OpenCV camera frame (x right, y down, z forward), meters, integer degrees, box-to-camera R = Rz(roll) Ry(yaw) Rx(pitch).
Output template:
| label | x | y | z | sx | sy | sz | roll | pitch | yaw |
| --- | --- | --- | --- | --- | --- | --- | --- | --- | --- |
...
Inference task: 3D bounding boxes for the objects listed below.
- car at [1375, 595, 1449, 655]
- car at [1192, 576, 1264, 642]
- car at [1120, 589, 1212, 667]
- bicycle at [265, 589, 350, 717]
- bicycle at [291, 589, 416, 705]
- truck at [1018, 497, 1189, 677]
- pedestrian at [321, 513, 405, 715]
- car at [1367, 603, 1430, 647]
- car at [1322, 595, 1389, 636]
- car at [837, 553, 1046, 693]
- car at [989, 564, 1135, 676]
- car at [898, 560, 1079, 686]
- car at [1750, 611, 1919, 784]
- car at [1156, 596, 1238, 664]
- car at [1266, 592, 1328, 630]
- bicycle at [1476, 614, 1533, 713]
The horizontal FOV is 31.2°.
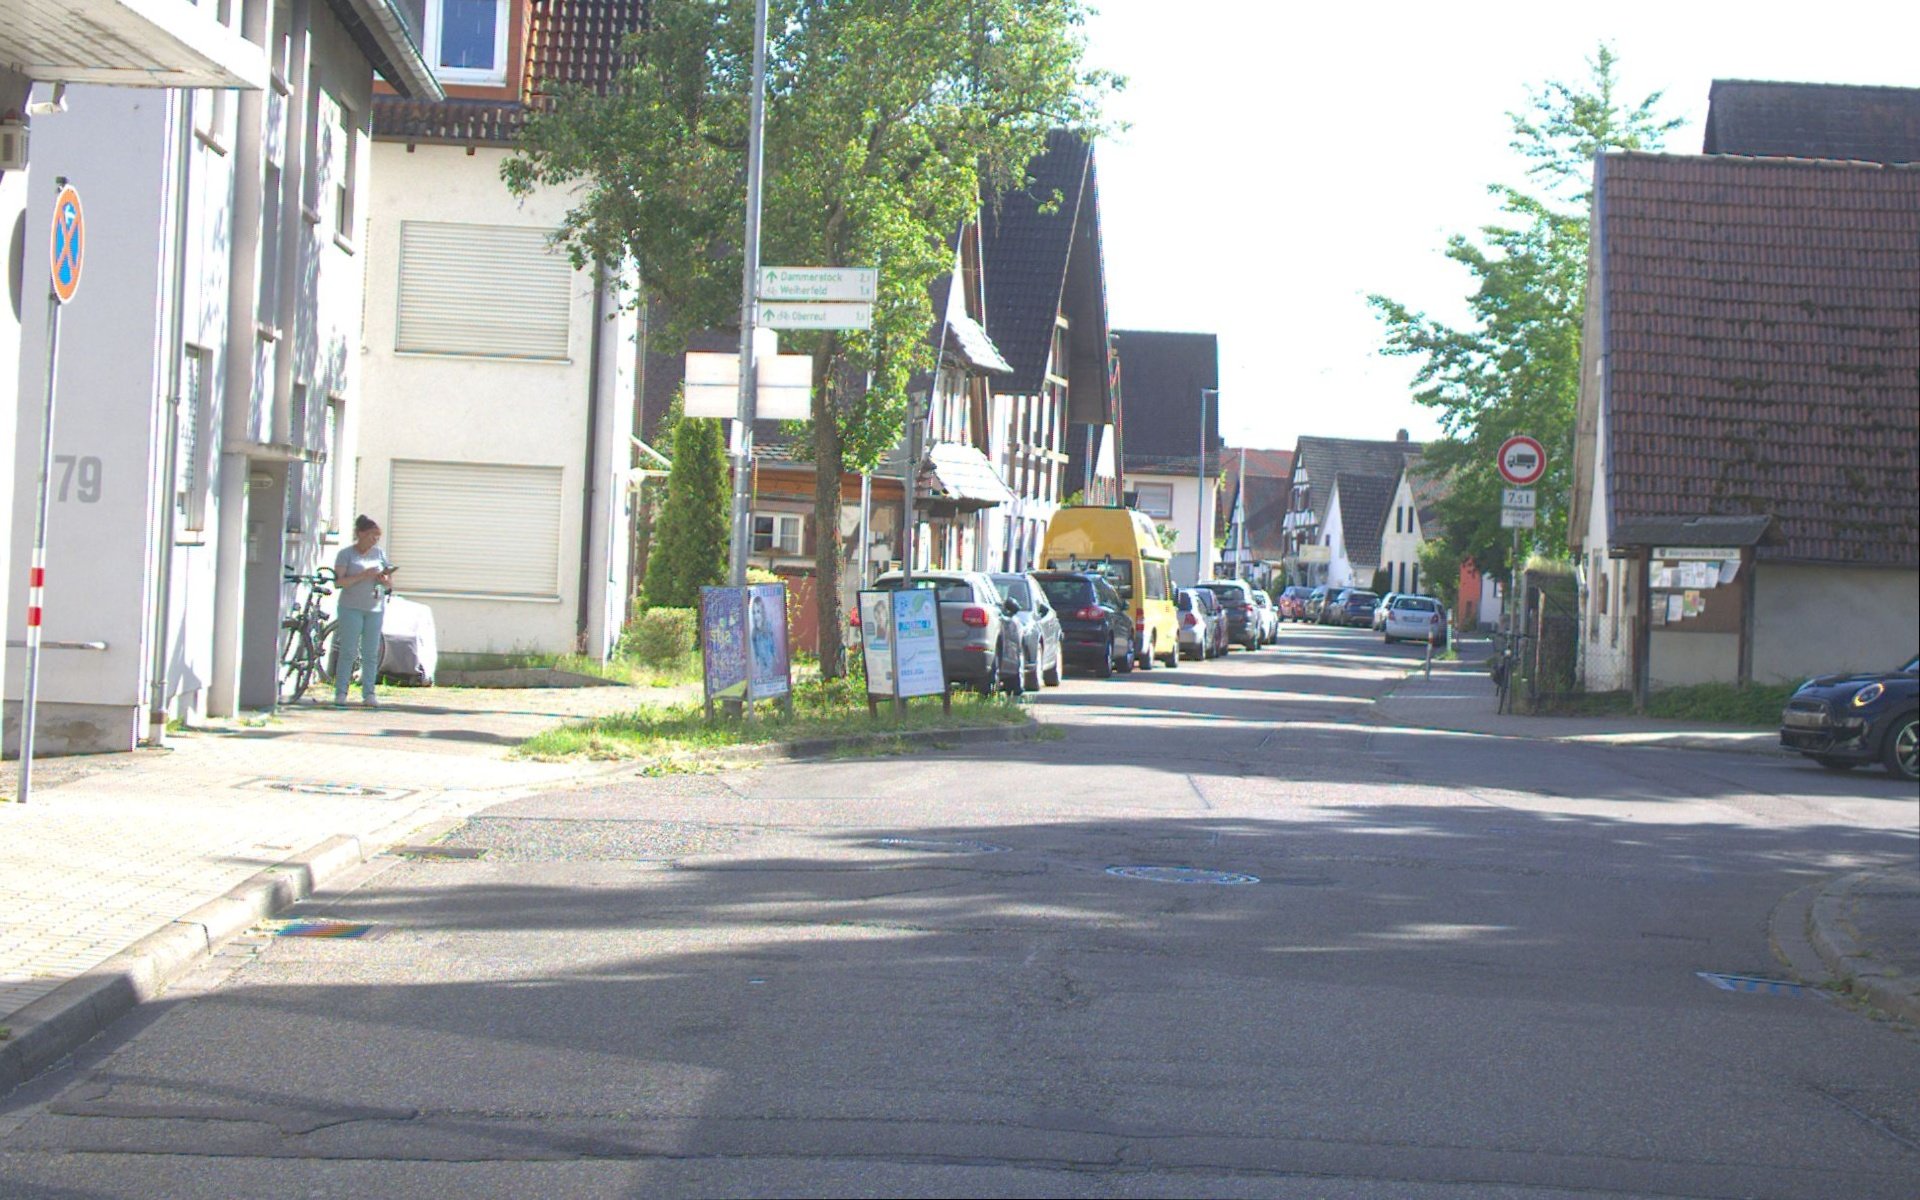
| label | x | y | z | sx | sy | sz | roll | pitch | yaw |
| --- | --- | --- | --- | --- | --- | --- | --- | --- | --- |
| car | 13.871 | 0.747 | 105.691 | 1.973 | 1.708 | 3.994 | 3 | 0 | 5 |
| car | 6.413 | 0.217 | 81.964 | 1.588 | 1.438 | 3.614 | 3 | 0 | 5 |
| car | 4.149 | 0.547 | 68.860 | 1.645 | 1.428 | 3.614 | 3 | 0 | 5 |
| bicycle | -5.549 | 0.451 | 29.271 | 0.423 | 1.049 | 1.381 | 3 | -1 | 0 |
| bicycle | -5.747 | 0.451 | 32.686 | 0.578 | 1.049 | 2.035 | 3 | -1 | 6 |
| truck | 2.565 | -0.186 | 59.718 | 2.269 | 2.859 | 5.780 | 3 | 0 | 8 |
| pedestrian | -5.108 | 0.127 | 29.435 | 0.483 | 1.687 | 0.556 | 3 | -2 | 3 |
| car | 17.412 | 0.995 | 136.736 | 1.973 | 1.577 | 3.995 | 3 | 0 | 1 |
| car | 17.040 | 0.648 | 148.324 | 1.973 | 1.577 | 3.996 | 3 | 0 | -6 |
| car | -0.162 | 0.279 | 41.267 | 1.868 | 1.500 | 4.106 | 3 | 0 | 8 |
| car | 1.655 | 0.316 | 54.465 | 1.807 | 1.616 | 3.879 | 3 | 0 | 8 |
| car | 0.430 | 0.314 | 45.617 | 1.807 | 1.500 | 4.106 | 3 | 0 | 8 |
| car | 9.575 | 0.974 | 31.850 | 3.986 | 1.472 | 1.666 | 4 | 0 | -9 |
| car | 5.081 | 0.625 | 73.414 | 1.588 | 1.331 | 3.614 | 3 | 0 | 5 |
| car | 15.548 | 0.495 | 158.611 | 1.973 | 1.577 | 3.996 | 3 | 0 | -6 |
| bicycle | 6.720 | 0.766 | 42.355 | 0.433 | 1.172 | 1.827 | 3 | 0 | 15 |
